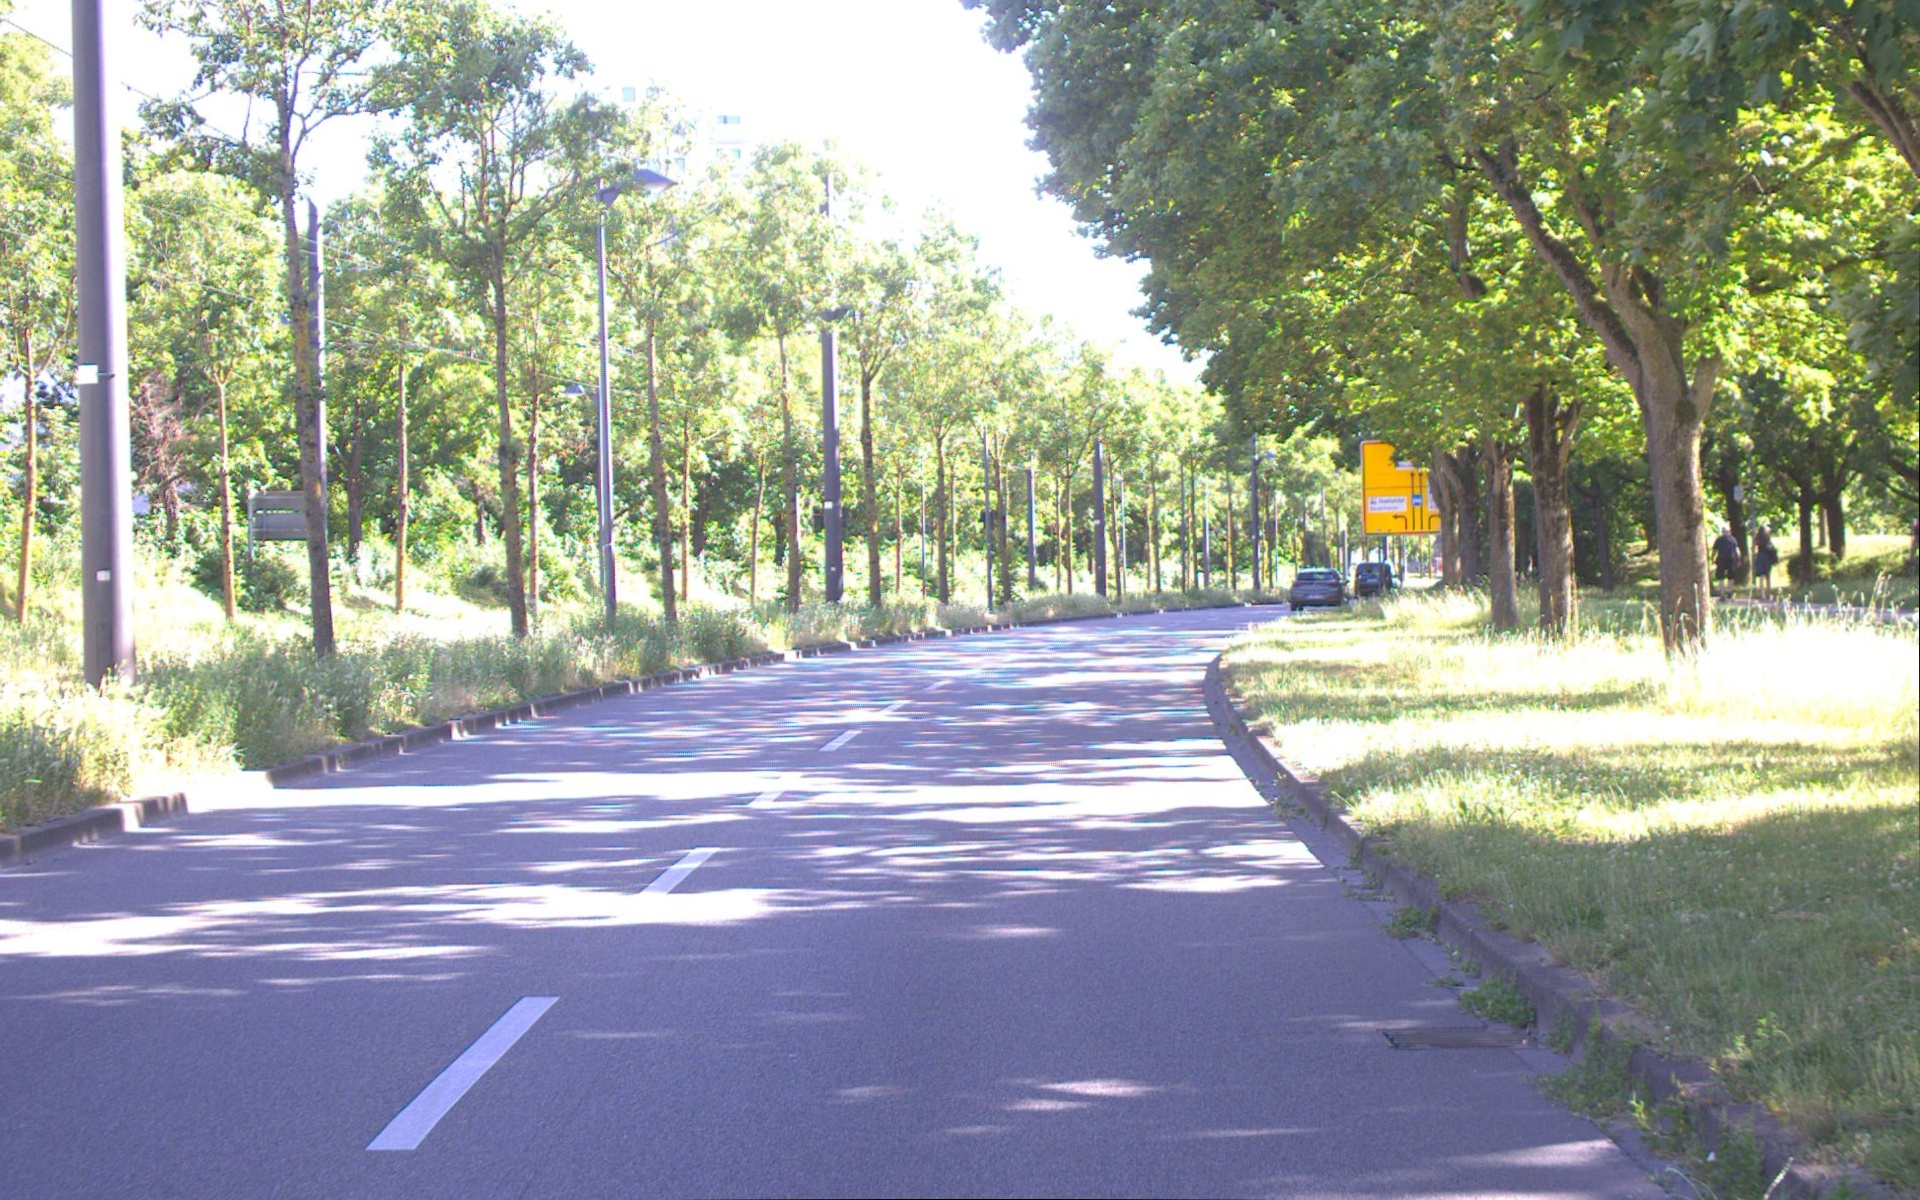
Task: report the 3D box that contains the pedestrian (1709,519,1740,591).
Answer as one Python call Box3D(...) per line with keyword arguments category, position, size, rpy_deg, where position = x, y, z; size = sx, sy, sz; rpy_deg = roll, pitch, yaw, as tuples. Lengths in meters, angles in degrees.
Box3D(category="pedestrian", position=(17.441, -1.020, 78.409), size=(0.547, 1.616, 0.843), rpy_deg=(-2, 0, 19))

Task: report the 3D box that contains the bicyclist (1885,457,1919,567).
Box3D(category="bicyclist", position=(12.885, -1.181, 46.070), size=(0.789, 1.445, 0.845), rpy_deg=(-2, 0, 7))

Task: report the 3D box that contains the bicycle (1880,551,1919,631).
Box3D(category="bicycle", position=(12.918, -0.130, 46.112), size=(0.794, 1.043, 2.142), rpy_deg=(-2, 0, 7))

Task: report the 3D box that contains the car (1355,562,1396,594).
Box3D(category="car", position=(19.771, -1.047, 163.606), size=(1.635, 1.493, 4.232), rpy_deg=(0, 1, 11))

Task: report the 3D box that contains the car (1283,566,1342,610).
Box3D(category="car", position=(12.167, -0.428, 118.562), size=(1.635, 1.493, 4.232), rpy_deg=(0, 1, 11))

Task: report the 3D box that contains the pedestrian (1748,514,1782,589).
Box3D(category="pedestrian", position=(18.257, -1.096, 77.949), size=(0.636, 1.686, 0.843), rpy_deg=(-2, 0, 19))
